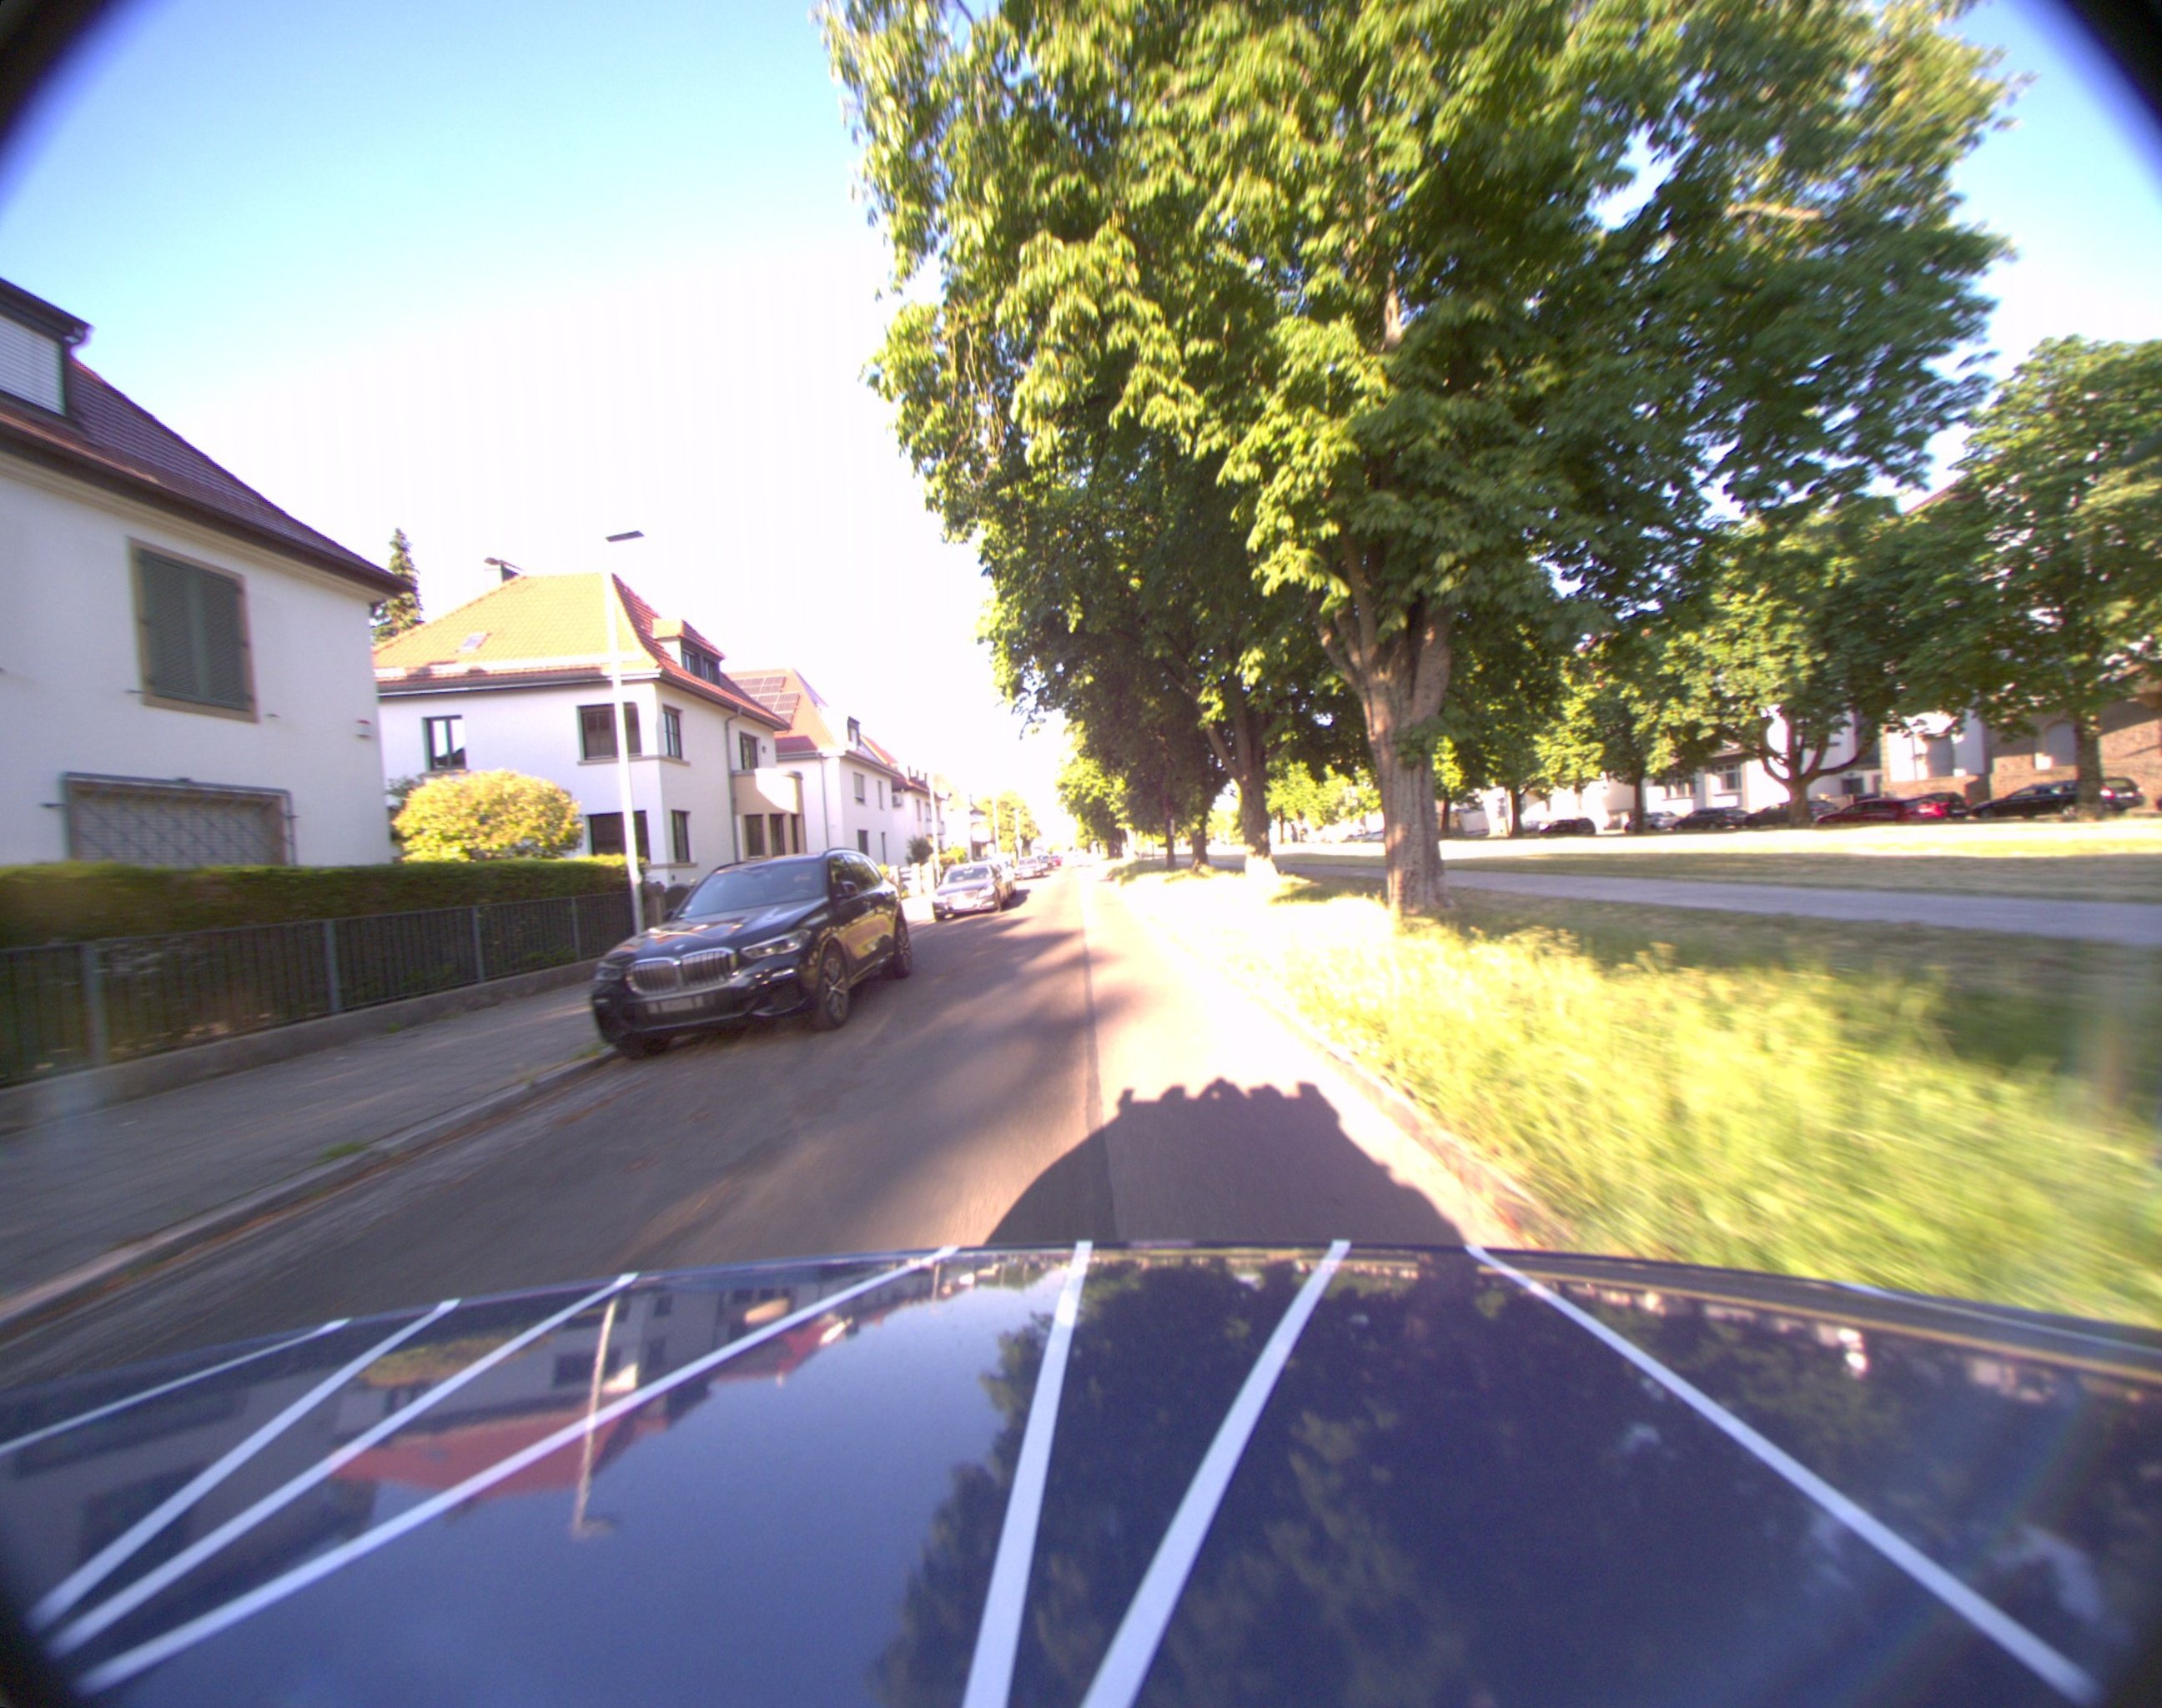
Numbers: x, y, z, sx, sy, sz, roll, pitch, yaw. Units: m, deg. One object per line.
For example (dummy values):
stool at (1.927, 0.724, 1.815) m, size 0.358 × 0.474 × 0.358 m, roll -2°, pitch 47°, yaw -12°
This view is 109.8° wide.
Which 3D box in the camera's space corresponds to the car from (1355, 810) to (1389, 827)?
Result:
car at (33.721, -4.070, 88.069) m, size 1.998 × 1.681 × 4.874 m, roll -4°, pitch 1°, yaw 1°

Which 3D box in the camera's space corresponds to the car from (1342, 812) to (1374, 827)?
car at (34.024, -4.220, 93.451) m, size 1.998 × 1.681 × 4.874 m, roll -4°, pitch 1°, yaw 1°

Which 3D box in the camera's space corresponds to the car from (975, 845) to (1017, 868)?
car at (-8.690, 0.238, 77.594) m, size 3.998 × 1.917 × 1.999 m, roll -5°, pitch 1°, yaw -3°

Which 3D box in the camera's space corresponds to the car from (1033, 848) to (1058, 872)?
car at (-3.071, 0.453, 66.175) m, size 1.863 × 1.710 × 4.466 m, roll -10°, pitch 1°, yaw -1°

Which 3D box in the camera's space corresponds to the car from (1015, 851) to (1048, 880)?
car at (-3.118, 0.697, 48.583) m, size 1.784 × 1.491 × 4.396 m, roll -7°, pitch 1°, yaw -1°

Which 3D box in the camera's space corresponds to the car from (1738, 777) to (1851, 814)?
car at (39.499, -3.219, 42.225) m, size 1.999 × 1.643 × 4.427 m, roll -4°, pitch 1°, yaw -1°

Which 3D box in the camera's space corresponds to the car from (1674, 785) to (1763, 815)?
car at (39.871, -3.353, 47.697) m, size 1.999 × 1.421 × 4.168 m, roll -5°, pitch 1°, yaw 0°

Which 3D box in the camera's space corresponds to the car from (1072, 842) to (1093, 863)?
car at (0.141, -0.178, 81.339) m, size 1.998 × 2.002 × 3.999 m, roll -5°, pitch 1°, yaw 0°

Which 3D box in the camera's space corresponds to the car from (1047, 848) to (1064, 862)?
car at (-3.035, 0.141, 91.947) m, size 1.824 × 1.486 × 4.223 m, roll -4°, pitch 1°, yaw -1°

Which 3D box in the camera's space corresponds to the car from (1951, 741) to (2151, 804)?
car at (39.466, -3.255, 31.156) m, size 1.998 × 2.002 × 4.875 m, roll -4°, pitch 1°, yaw 2°

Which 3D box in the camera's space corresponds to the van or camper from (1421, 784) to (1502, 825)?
van or camper at (33.942, -4.367, 68.177) m, size 3.262 × 3.093 × 7.895 m, roll -4°, pitch 1°, yaw 1°

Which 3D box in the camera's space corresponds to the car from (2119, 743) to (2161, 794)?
car at (39.358, -3.057, 25.505) m, size 1.999 × 1.740 × 5.005 m, roll -1°, pitch 1°, yaw -5°

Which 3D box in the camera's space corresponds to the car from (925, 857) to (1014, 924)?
car at (-3.127, 0.972, 22.293) m, size 1.784 × 1.455 × 4.592 m, roll -7°, pitch 1°, yaw 0°

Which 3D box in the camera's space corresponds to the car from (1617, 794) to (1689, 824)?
car at (39.525, -3.082, 52.623) m, size 1.998 × 1.725 × 4.000 m, roll -4°, pitch 1°, yaw 2°

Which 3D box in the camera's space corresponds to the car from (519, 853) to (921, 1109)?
car at (-3.323, 0.990, 8.374) m, size 1.999 × 1.727 × 4.862 m, roll -7°, pitch 1°, yaw -1°

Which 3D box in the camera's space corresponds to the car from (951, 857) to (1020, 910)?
car at (-3.482, 1.021, 28.535) m, size 1.999 × 1.456 × 4.548 m, roll -8°, pitch 1°, yaw -2°

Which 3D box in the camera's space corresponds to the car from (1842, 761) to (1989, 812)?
car at (39.557, -3.139, 36.199) m, size 1.999 × 2.002 × 4.427 m, roll -4°, pitch 1°, yaw -1°

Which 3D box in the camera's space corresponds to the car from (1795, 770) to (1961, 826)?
car at (33.822, -2.300, 32.494) m, size 1.998 × 2.002 × 4.875 m, roll -4°, pitch 1°, yaw 2°

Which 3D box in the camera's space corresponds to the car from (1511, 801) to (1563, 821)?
car at (39.675, -3.713, 66.177) m, size 1.999 × 1.455 × 3.999 m, roll -4°, pitch 0°, yaw 0°
